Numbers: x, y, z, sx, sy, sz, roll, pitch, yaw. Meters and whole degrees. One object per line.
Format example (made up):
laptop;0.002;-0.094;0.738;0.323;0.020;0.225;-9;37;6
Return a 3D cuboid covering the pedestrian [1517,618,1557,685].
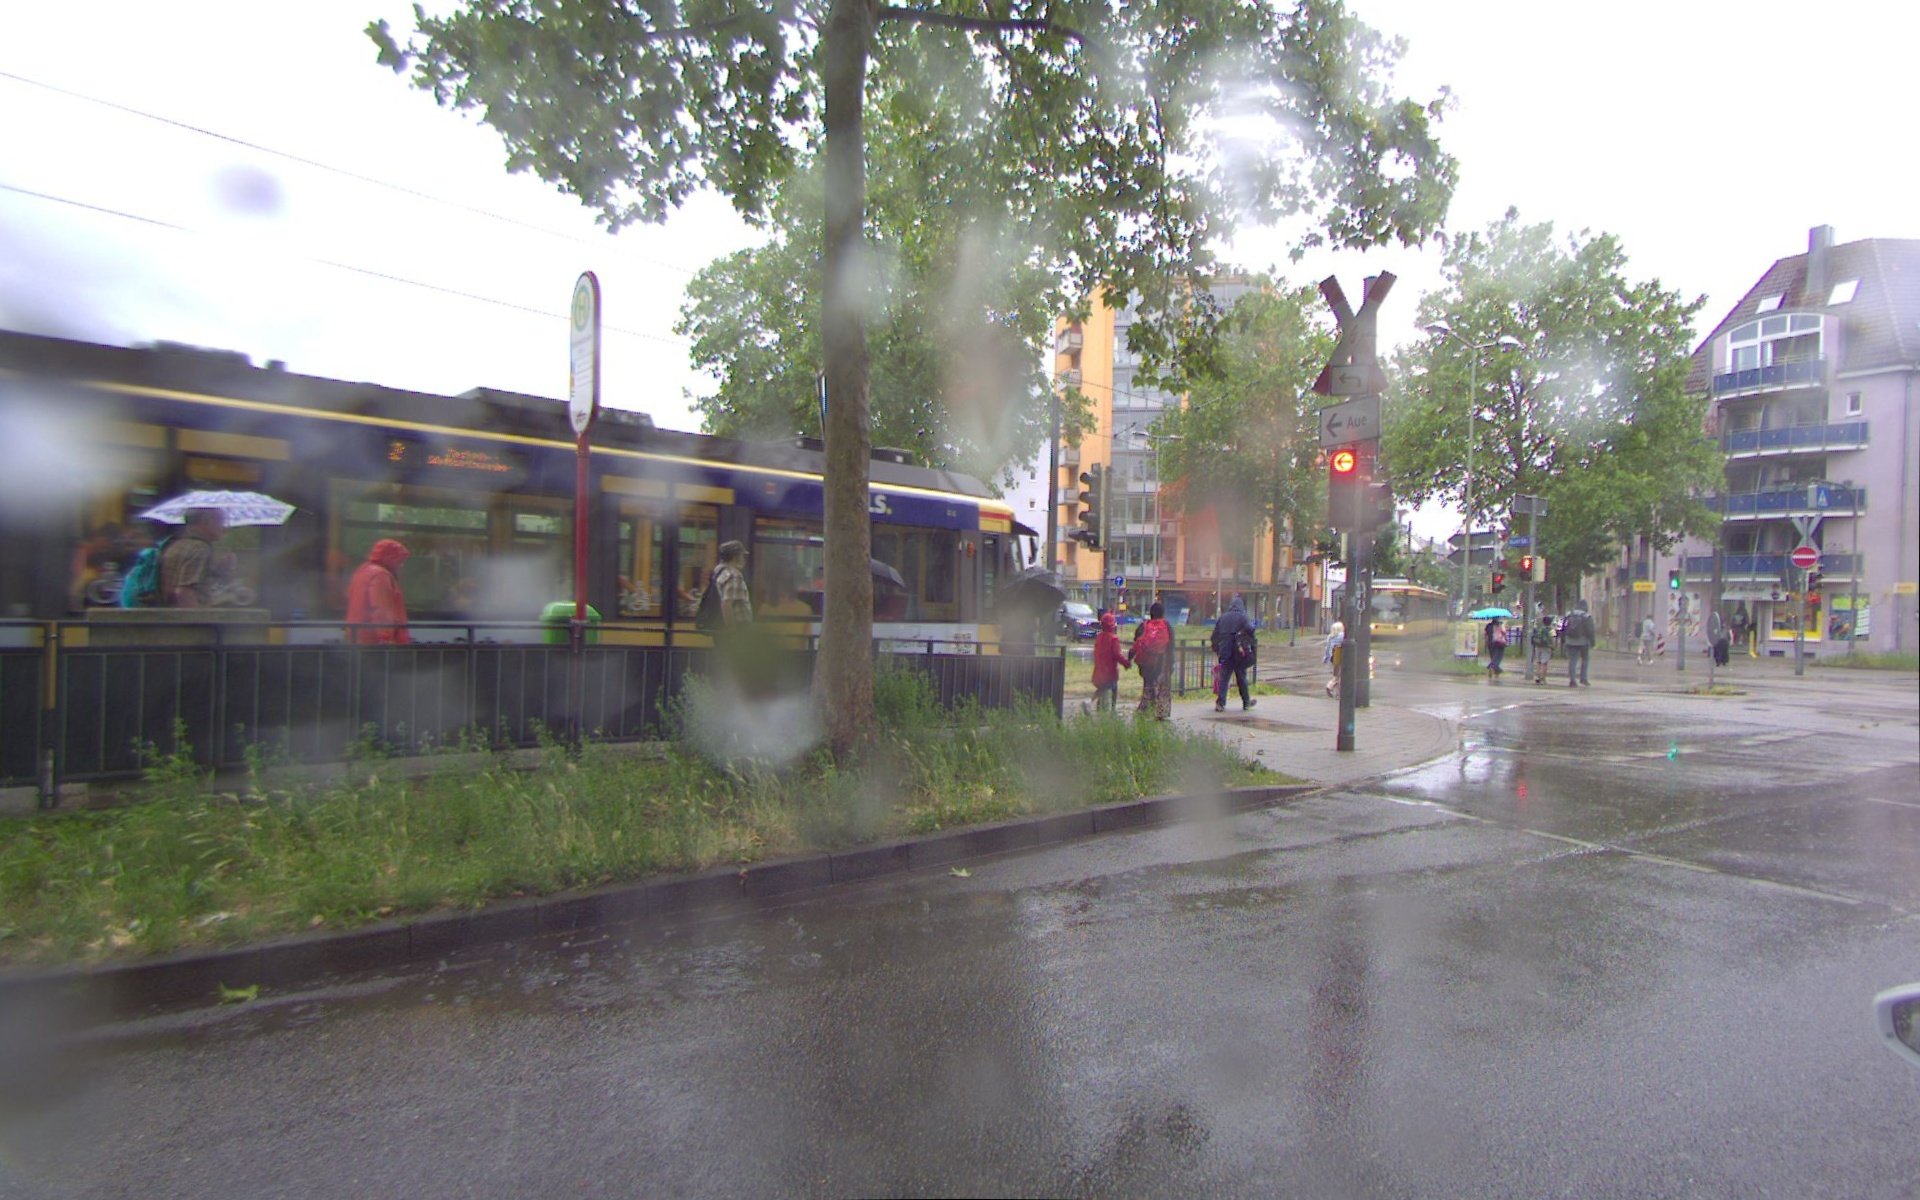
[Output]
pedestrian;12.678;1.109;22.061;0.640;1.414;0.779;1;0;37

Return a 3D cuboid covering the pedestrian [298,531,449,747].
pedestrian;-4.587;0.296;7.877;0.783;1.593;0.659;-2;0;24

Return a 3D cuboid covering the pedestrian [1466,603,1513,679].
pedestrian;13.038;0.997;24.723;0.943;1.789;0.951;2;0;31

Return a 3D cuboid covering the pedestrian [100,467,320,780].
pedestrian;-4.983;0.142;6.670;1.068;1.851;0.974;-1;0;-41

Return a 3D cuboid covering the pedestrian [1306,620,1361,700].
pedestrian;6.644;1.044;17.876;0.704;1.367;0.650;1;1;-44

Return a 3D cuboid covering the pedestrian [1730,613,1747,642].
pedestrian;36.833;1.281;47.499;0.442;1.347;0.554;2;0;-45

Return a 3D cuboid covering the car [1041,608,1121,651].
car;4.802;1.161;40.473;1.585;1.551;4.017;1;1;-19

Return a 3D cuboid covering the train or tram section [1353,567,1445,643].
train or tram section;25.989;0.397;58.780;2.839;3.818;17.211;2;0;30

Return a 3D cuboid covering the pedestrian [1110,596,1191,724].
pedestrian;2.547;0.774;13.435;0.809;1.646;0.724;0;0;-37

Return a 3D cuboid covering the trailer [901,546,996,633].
trailer;-0.818;-0.466;50.742;2.593;3.899;10.114;2;0;-13

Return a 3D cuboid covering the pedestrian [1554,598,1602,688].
pedestrian;13.204;0.902;21.466;0.777;1.880;0.679;2;1;37

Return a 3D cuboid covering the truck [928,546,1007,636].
truck;0.275;-0.390;46.052;2.593;3.842;4.444;2;0;-13

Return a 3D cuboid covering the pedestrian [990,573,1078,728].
pedestrian;0.853;0.566;11.489;0.783;1.705;0.659;-2;0;23

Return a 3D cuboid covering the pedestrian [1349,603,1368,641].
pedestrian;23.294;1.304;58.692;0.871;2.179;0.910;2;0;29

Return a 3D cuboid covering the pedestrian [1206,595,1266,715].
pedestrian;4.074;0.787;14.829;0.823;1.722;0.689;-1;0;17

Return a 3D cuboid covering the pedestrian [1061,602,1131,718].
pedestrian;1.866;0.807;13.820;0.653;1.540;0.676;1;0;-38

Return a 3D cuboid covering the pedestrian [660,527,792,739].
pedestrian;-2.107;0.275;9.022;0.824;1.778;0.857;1;1;-41

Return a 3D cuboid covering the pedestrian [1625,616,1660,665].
pedestrian;22.788;1.346;33.538;0.958;1.622;0.669;2;0;-36

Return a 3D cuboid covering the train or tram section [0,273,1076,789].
train or tram section;-4.157;-0.403;11.419;13.624;3.593;2.832;2;0;-44

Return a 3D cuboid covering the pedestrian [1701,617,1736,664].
pedestrian;25.456;1.348;33.711;0.785;1.553;0.743;2;0;-41

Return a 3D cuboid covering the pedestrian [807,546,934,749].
pedestrian;-0.888;0.439;9.956;0.885;1.889;0.861;1;1;-41
